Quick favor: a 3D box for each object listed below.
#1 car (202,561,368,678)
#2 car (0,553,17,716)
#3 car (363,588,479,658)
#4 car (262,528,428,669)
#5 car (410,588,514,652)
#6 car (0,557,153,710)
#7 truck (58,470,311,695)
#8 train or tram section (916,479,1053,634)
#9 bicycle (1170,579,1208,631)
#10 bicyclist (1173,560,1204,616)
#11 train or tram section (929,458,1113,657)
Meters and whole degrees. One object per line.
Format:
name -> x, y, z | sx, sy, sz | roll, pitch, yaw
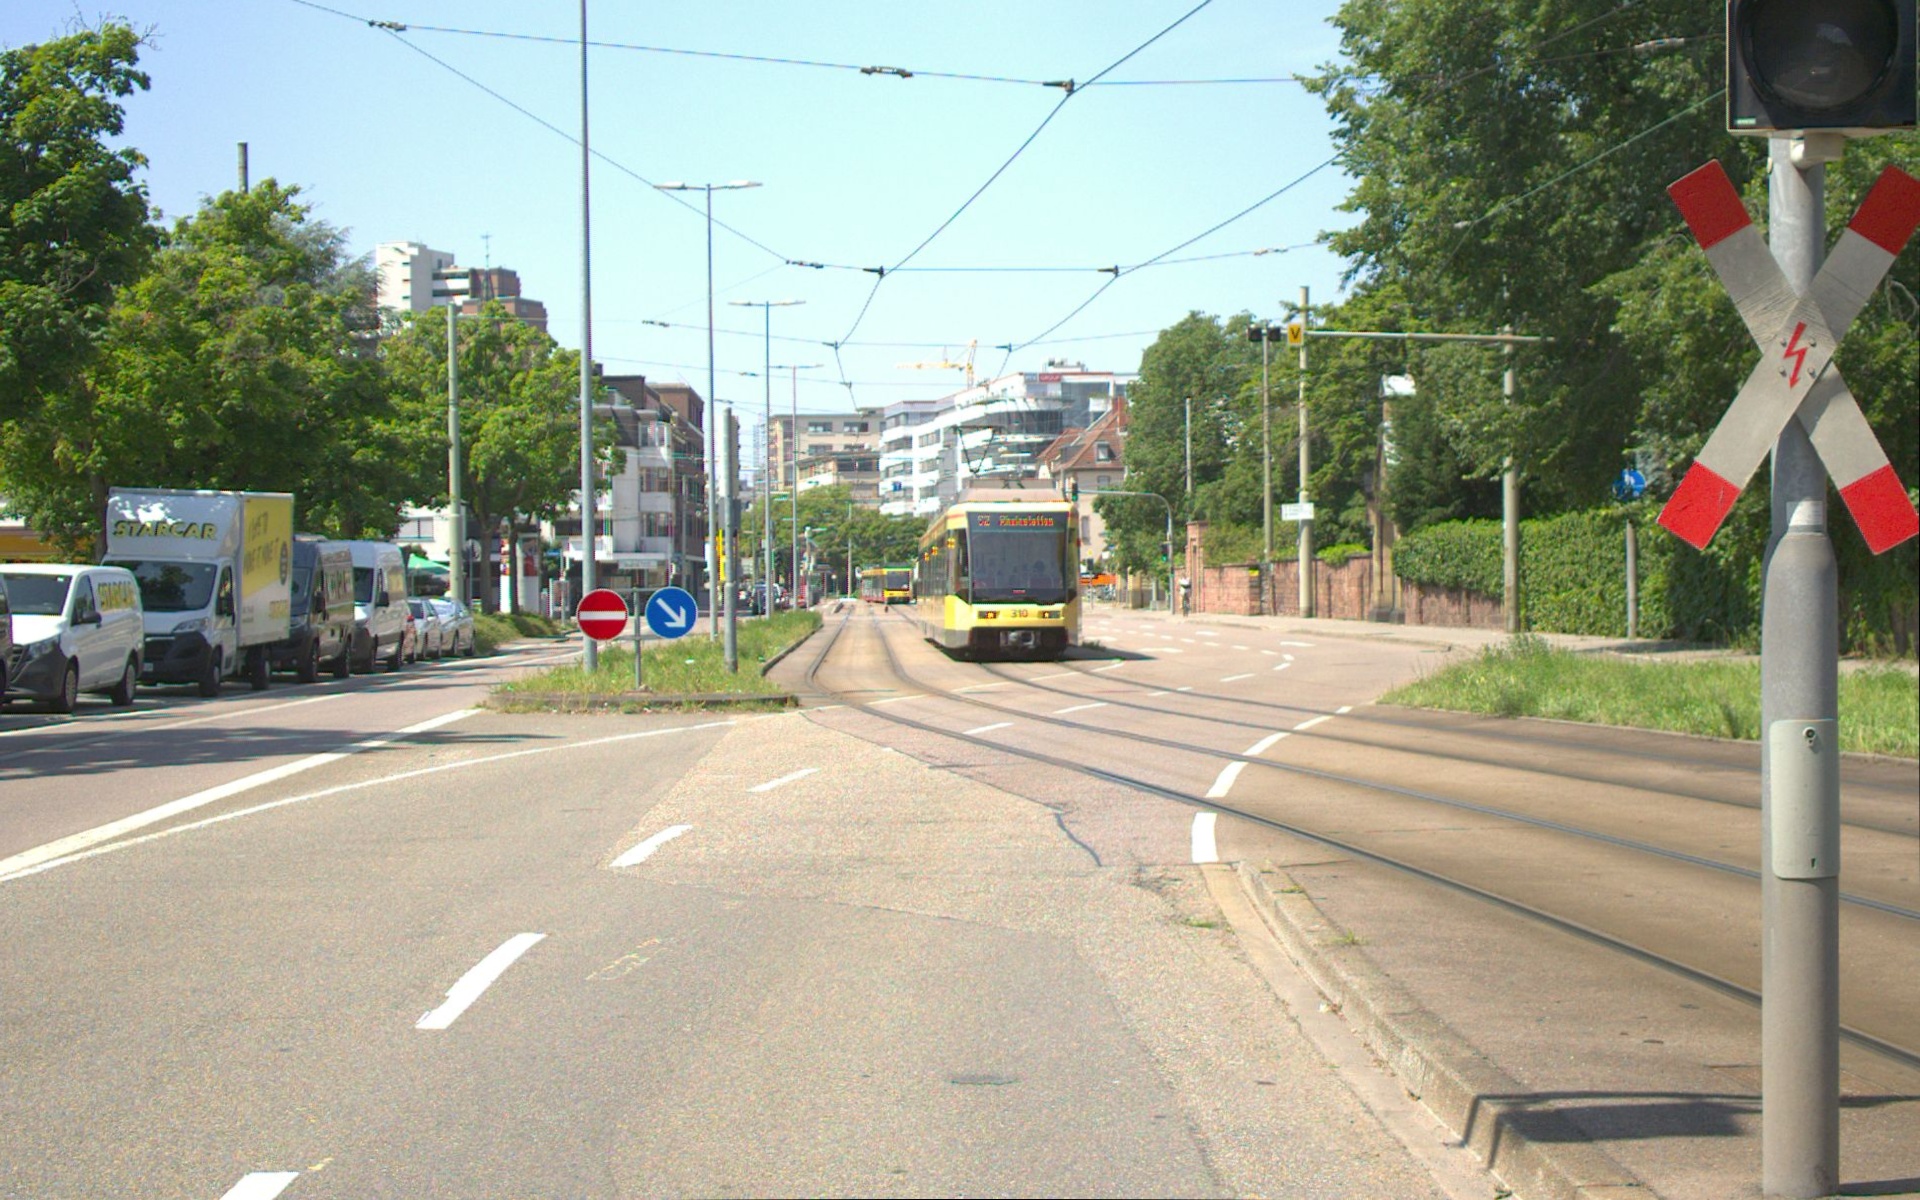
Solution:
car -> -12.015, 0.319, 61.487 | 2.061, 1.970, 4.871 | -1, 0, -1
car -> -12.061, 0.431, 38.478 | 1.868, 1.888, 4.271 | -1, 0, -1
car -> -12.898, 0.522, 82.501 | 2.061, 1.576, 4.871 | -1, 0, -1
car -> -12.313, -0.058, 69.193 | 2.157, 2.630, 5.611 | 2, 1, 1
car -> -13.025, 0.510, 90.190 | 2.061, 1.576, 4.871 | -1, 0, -1
car -> -12.202, 0.404, 45.205 | 2.061, 1.891, 4.871 | -1, 0, -1
truck -> -12.032, -0.294, 53.933 | 2.157, 3.199, 7.082 | 2, 1, 1
train or tram section -> 0.451, -1.166, 92.184 | 2.943, 3.679, 20.285 | 0, 1, -2
bicycle -> 8.699, 0.168, 130.642 | 1.092, 1.901, 3.682 | -1, 0, -1
bicyclist -> 8.696, -0.454, 130.690 | 1.096, 2.101, 1.031 | 0, 0, -1
train or tram section -> 1.047, -0.898, 72.897 | 2.943, 3.679, 18.391 | 0, 1, -2
